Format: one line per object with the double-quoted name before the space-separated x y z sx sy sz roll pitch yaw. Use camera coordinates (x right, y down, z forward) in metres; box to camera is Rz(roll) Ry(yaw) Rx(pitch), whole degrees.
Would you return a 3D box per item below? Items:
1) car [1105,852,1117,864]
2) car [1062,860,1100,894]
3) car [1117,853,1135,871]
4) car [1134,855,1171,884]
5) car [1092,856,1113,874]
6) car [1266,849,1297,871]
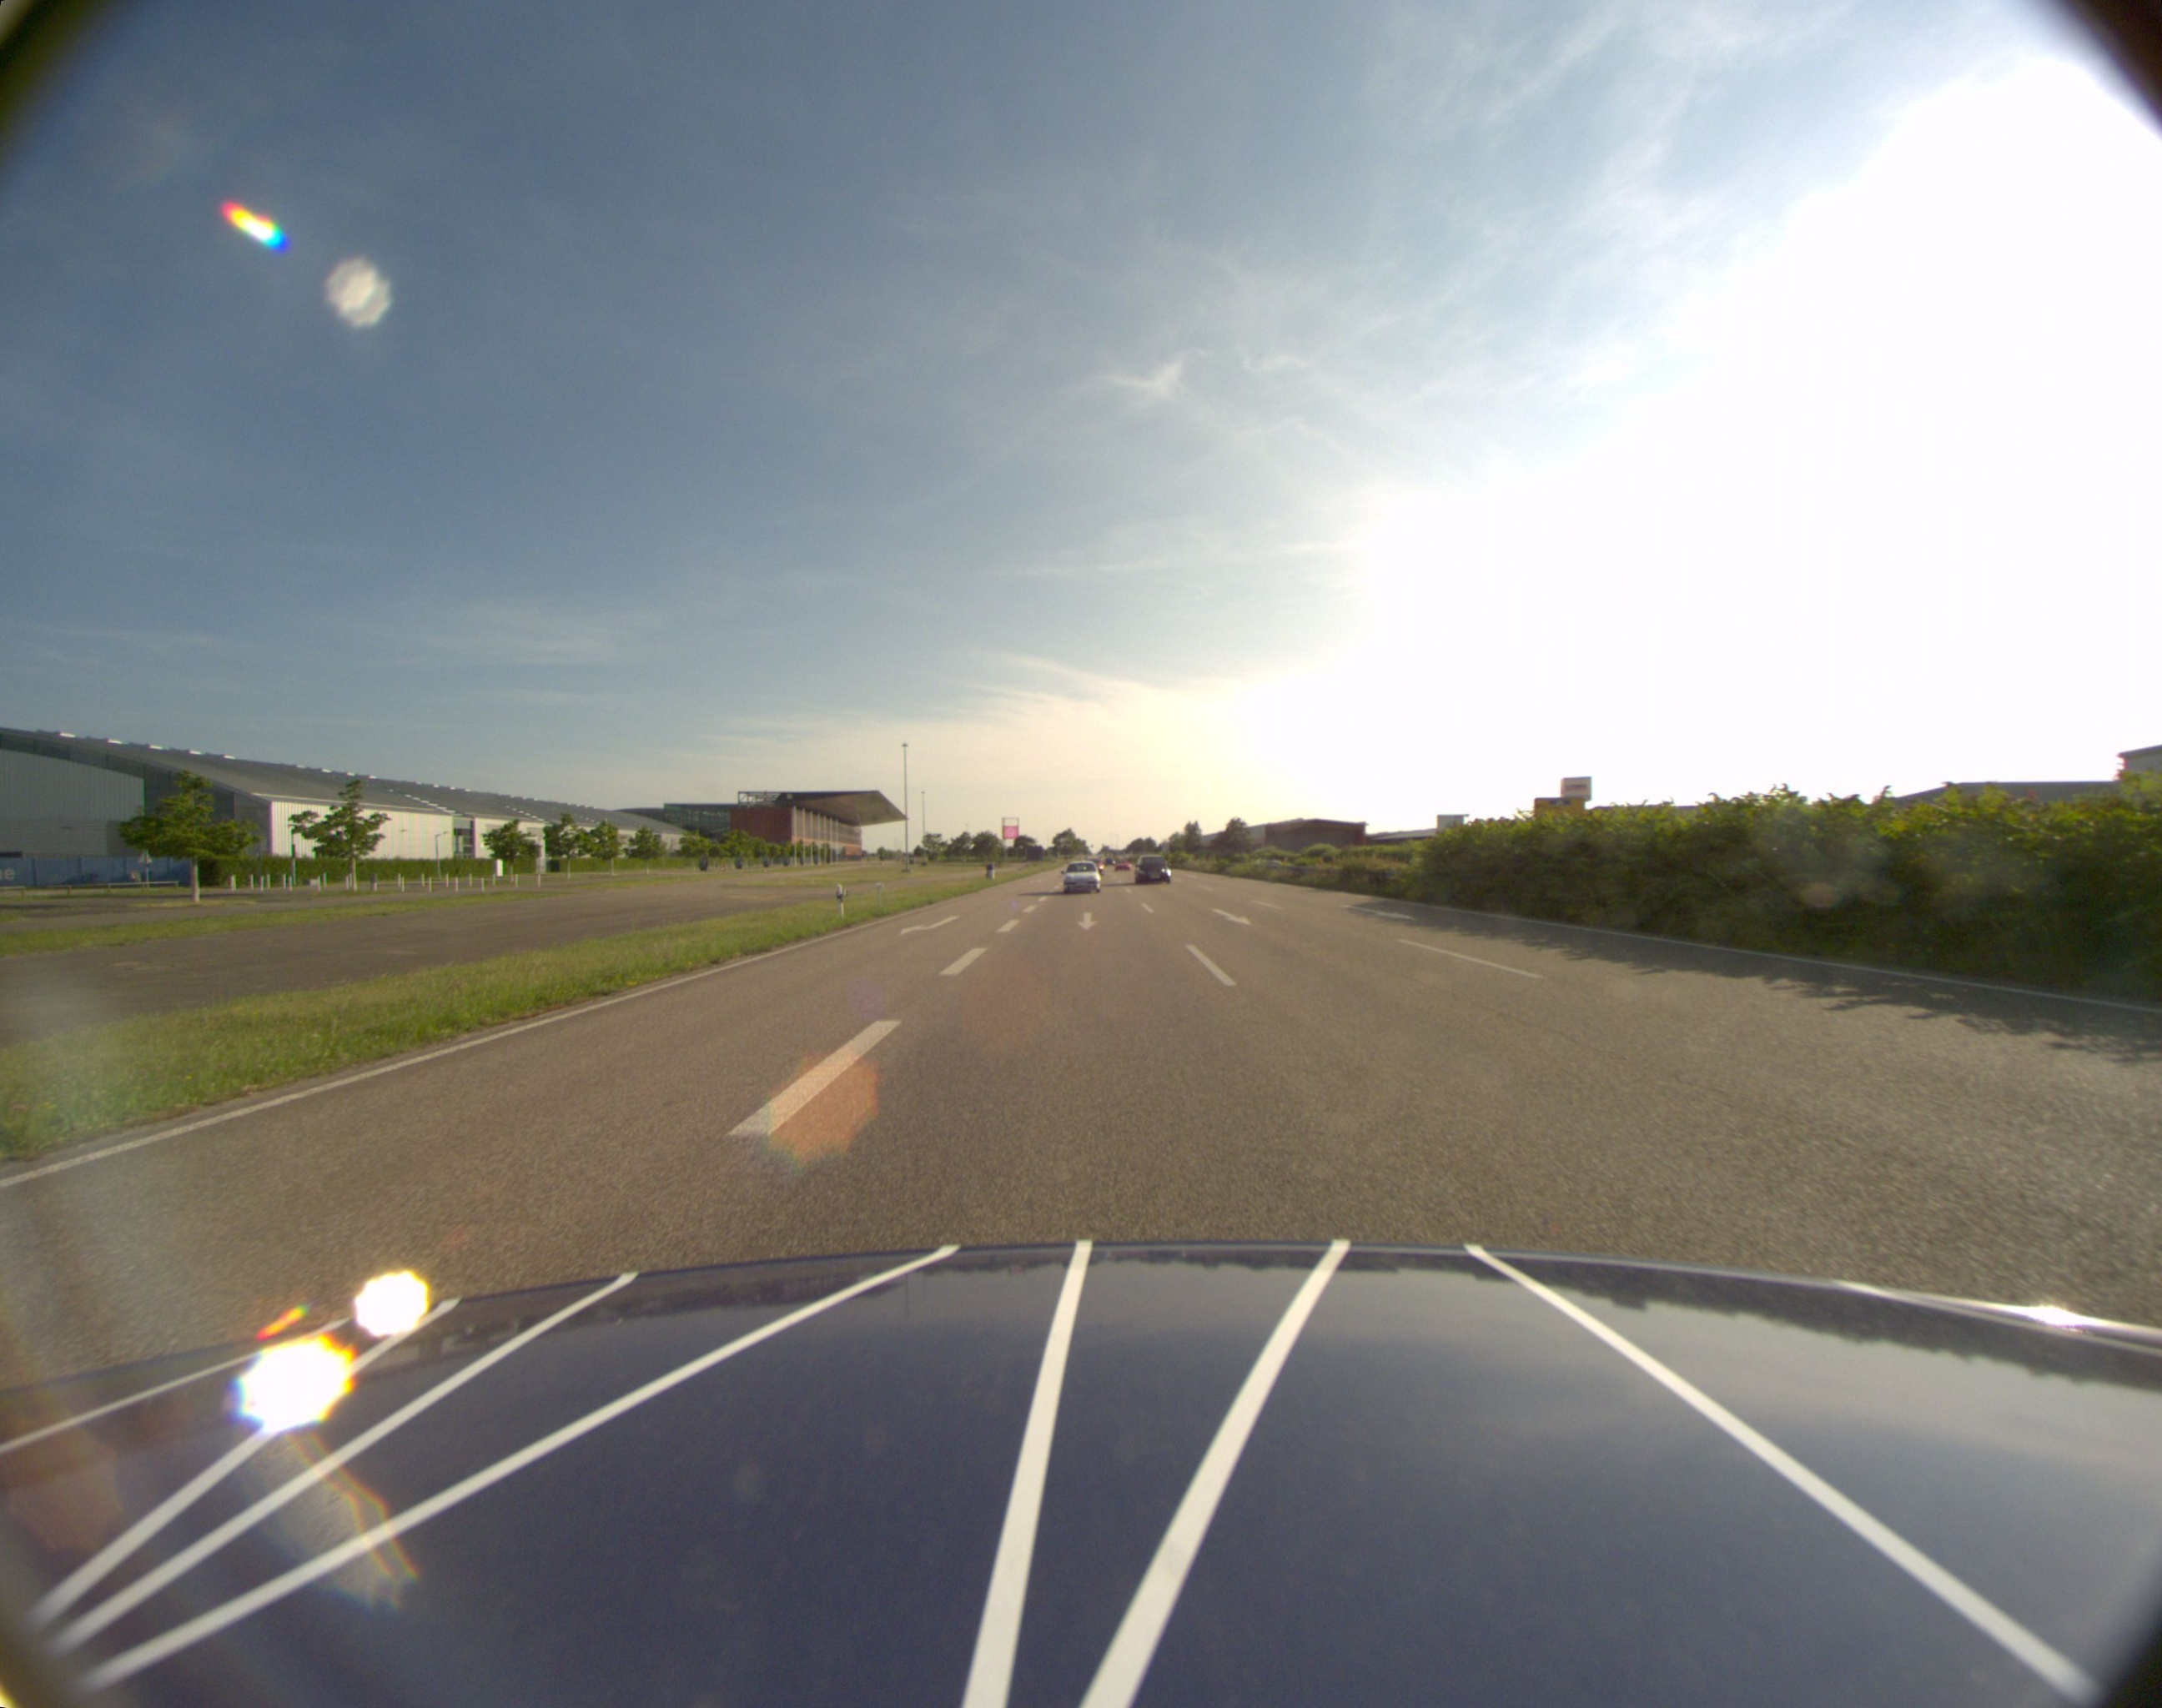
"car" 5.587 0.707 140.876 1.998 2.002 4.000 -1 0 1
"car" 0.039 0.995 34.379 1.578 1.371 3.452 -2 0 1
"car" 5.044 0.927 86.006 1.799 1.926 4.000 -1 0 1
"car" 3.979 0.840 42.615 1.758 1.499 3.422 -1 0 1
"car" 1.897 0.923 66.709 1.751 1.512 3.739 -2 0 1
"car" 16.163 0.474 61.398 1.599 1.634 3.460 -1 0 1
